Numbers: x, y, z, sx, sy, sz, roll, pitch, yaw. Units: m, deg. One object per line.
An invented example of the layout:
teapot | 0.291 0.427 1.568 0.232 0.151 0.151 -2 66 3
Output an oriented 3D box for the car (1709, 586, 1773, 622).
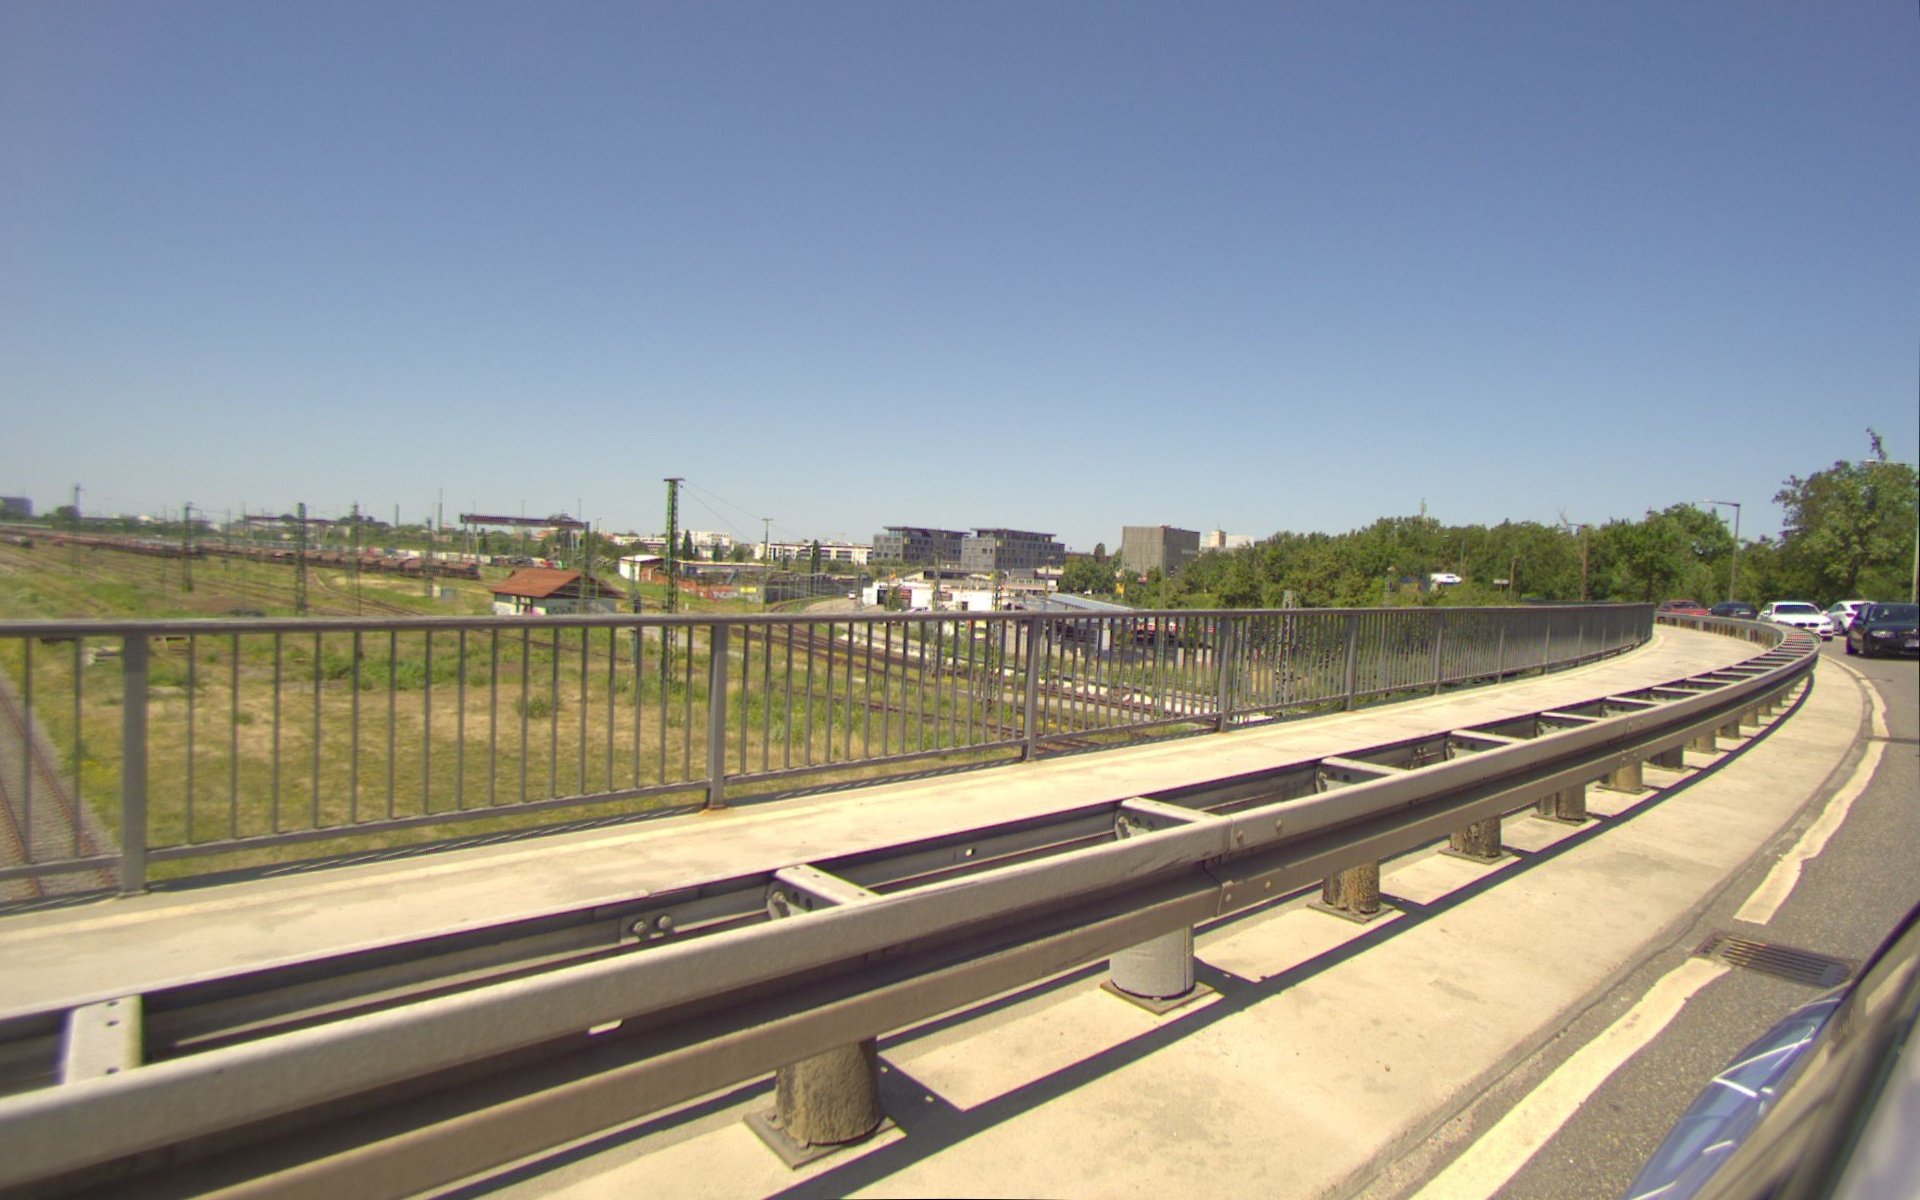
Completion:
car | 46.258 0.226 60.005 1.977 2.039 3.969 -1 0 23

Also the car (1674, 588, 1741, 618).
car | 40.462 0.129 54.911 1.774 1.473 4.491 1 2 21

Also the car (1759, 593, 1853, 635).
car | 32.087 0.478 38.519 1.778 1.473 4.481 0 0 27

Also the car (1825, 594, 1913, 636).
car | 38.168 0.603 42.593 1.682 1.627 3.964 2 1 26

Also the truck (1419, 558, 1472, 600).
truck | 51.896 -2.196 108.440 2.648 4.282 6.833 -1 0 4

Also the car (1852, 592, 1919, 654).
car | 24.503 0.548 26.036 1.783 1.473 4.467 0 1 34
